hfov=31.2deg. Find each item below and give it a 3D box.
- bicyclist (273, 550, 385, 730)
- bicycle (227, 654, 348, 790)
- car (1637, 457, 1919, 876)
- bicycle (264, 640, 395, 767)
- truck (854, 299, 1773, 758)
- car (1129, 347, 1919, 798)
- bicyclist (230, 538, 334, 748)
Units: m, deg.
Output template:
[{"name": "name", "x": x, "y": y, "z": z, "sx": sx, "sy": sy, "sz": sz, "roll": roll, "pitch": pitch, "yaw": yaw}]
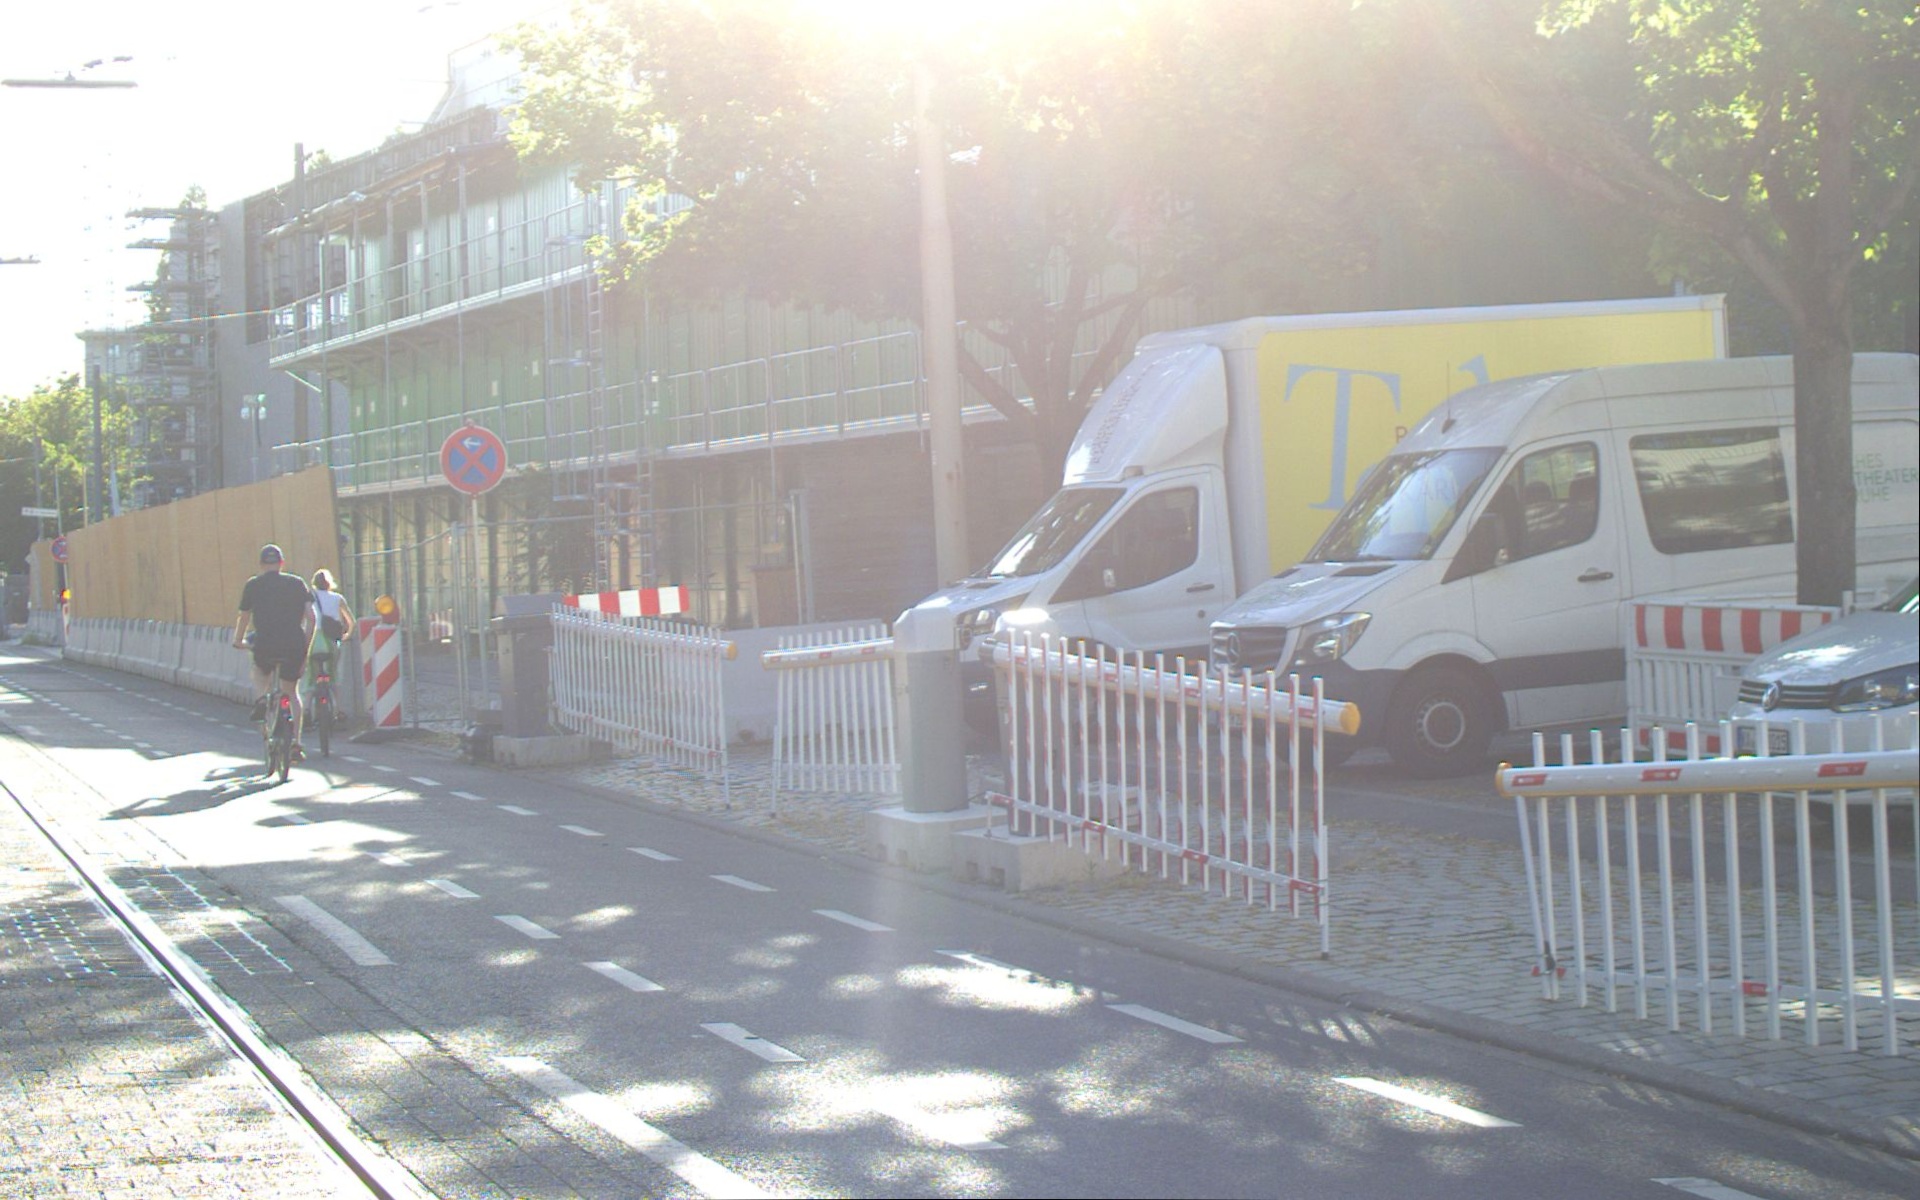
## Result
[{"name": "bicyclist", "x": -5.866, "y": 0.360, "z": 31.913, "sx": 0.892, "sy": 1.634, "sz": 1.100, "roll": 0, "pitch": 0, "yaw": -18}, {"name": "bicycle", "x": -5.418, "y": 0.961, "z": 27.630, "sx": 0.680, "sy": 1.015, "sz": 1.922, "roll": -1, "pitch": 0, "yaw": -19}, {"name": "car", "x": 6.143, "y": 0.157, "z": 17.189, "sx": 4.930, "sy": 1.886, "sz": 2.011, "roll": -4, "pitch": 1, "yaw": -13}, {"name": "bicycle", "x": -5.875, "y": 0.938, "z": 31.931, "sx": 0.892, "sy": 1.089, "sz": 2.431, "roll": 0, "pitch": 0, "yaw": -18}, {"name": "truck", "x": 2.936, "y": -0.649, "z": 28.570, "sx": 7.095, "sy": 3.336, "sz": 2.391, "roll": -3, "pitch": 1, "yaw": -18}, {"name": "car", "x": 4.072, "y": -0.250, "z": 22.994, "sx": 5.362, "sy": 2.522, "sz": 2.000, "roll": -5, "pitch": 2, "yaw": -21}, {"name": "bicyclist", "x": -5.477, "y": 0.341, "z": 27.752, "sx": 0.680, "sy": 1.652, "sz": 0.812, "roll": -1, "pitch": 0, "yaw": -19}]
